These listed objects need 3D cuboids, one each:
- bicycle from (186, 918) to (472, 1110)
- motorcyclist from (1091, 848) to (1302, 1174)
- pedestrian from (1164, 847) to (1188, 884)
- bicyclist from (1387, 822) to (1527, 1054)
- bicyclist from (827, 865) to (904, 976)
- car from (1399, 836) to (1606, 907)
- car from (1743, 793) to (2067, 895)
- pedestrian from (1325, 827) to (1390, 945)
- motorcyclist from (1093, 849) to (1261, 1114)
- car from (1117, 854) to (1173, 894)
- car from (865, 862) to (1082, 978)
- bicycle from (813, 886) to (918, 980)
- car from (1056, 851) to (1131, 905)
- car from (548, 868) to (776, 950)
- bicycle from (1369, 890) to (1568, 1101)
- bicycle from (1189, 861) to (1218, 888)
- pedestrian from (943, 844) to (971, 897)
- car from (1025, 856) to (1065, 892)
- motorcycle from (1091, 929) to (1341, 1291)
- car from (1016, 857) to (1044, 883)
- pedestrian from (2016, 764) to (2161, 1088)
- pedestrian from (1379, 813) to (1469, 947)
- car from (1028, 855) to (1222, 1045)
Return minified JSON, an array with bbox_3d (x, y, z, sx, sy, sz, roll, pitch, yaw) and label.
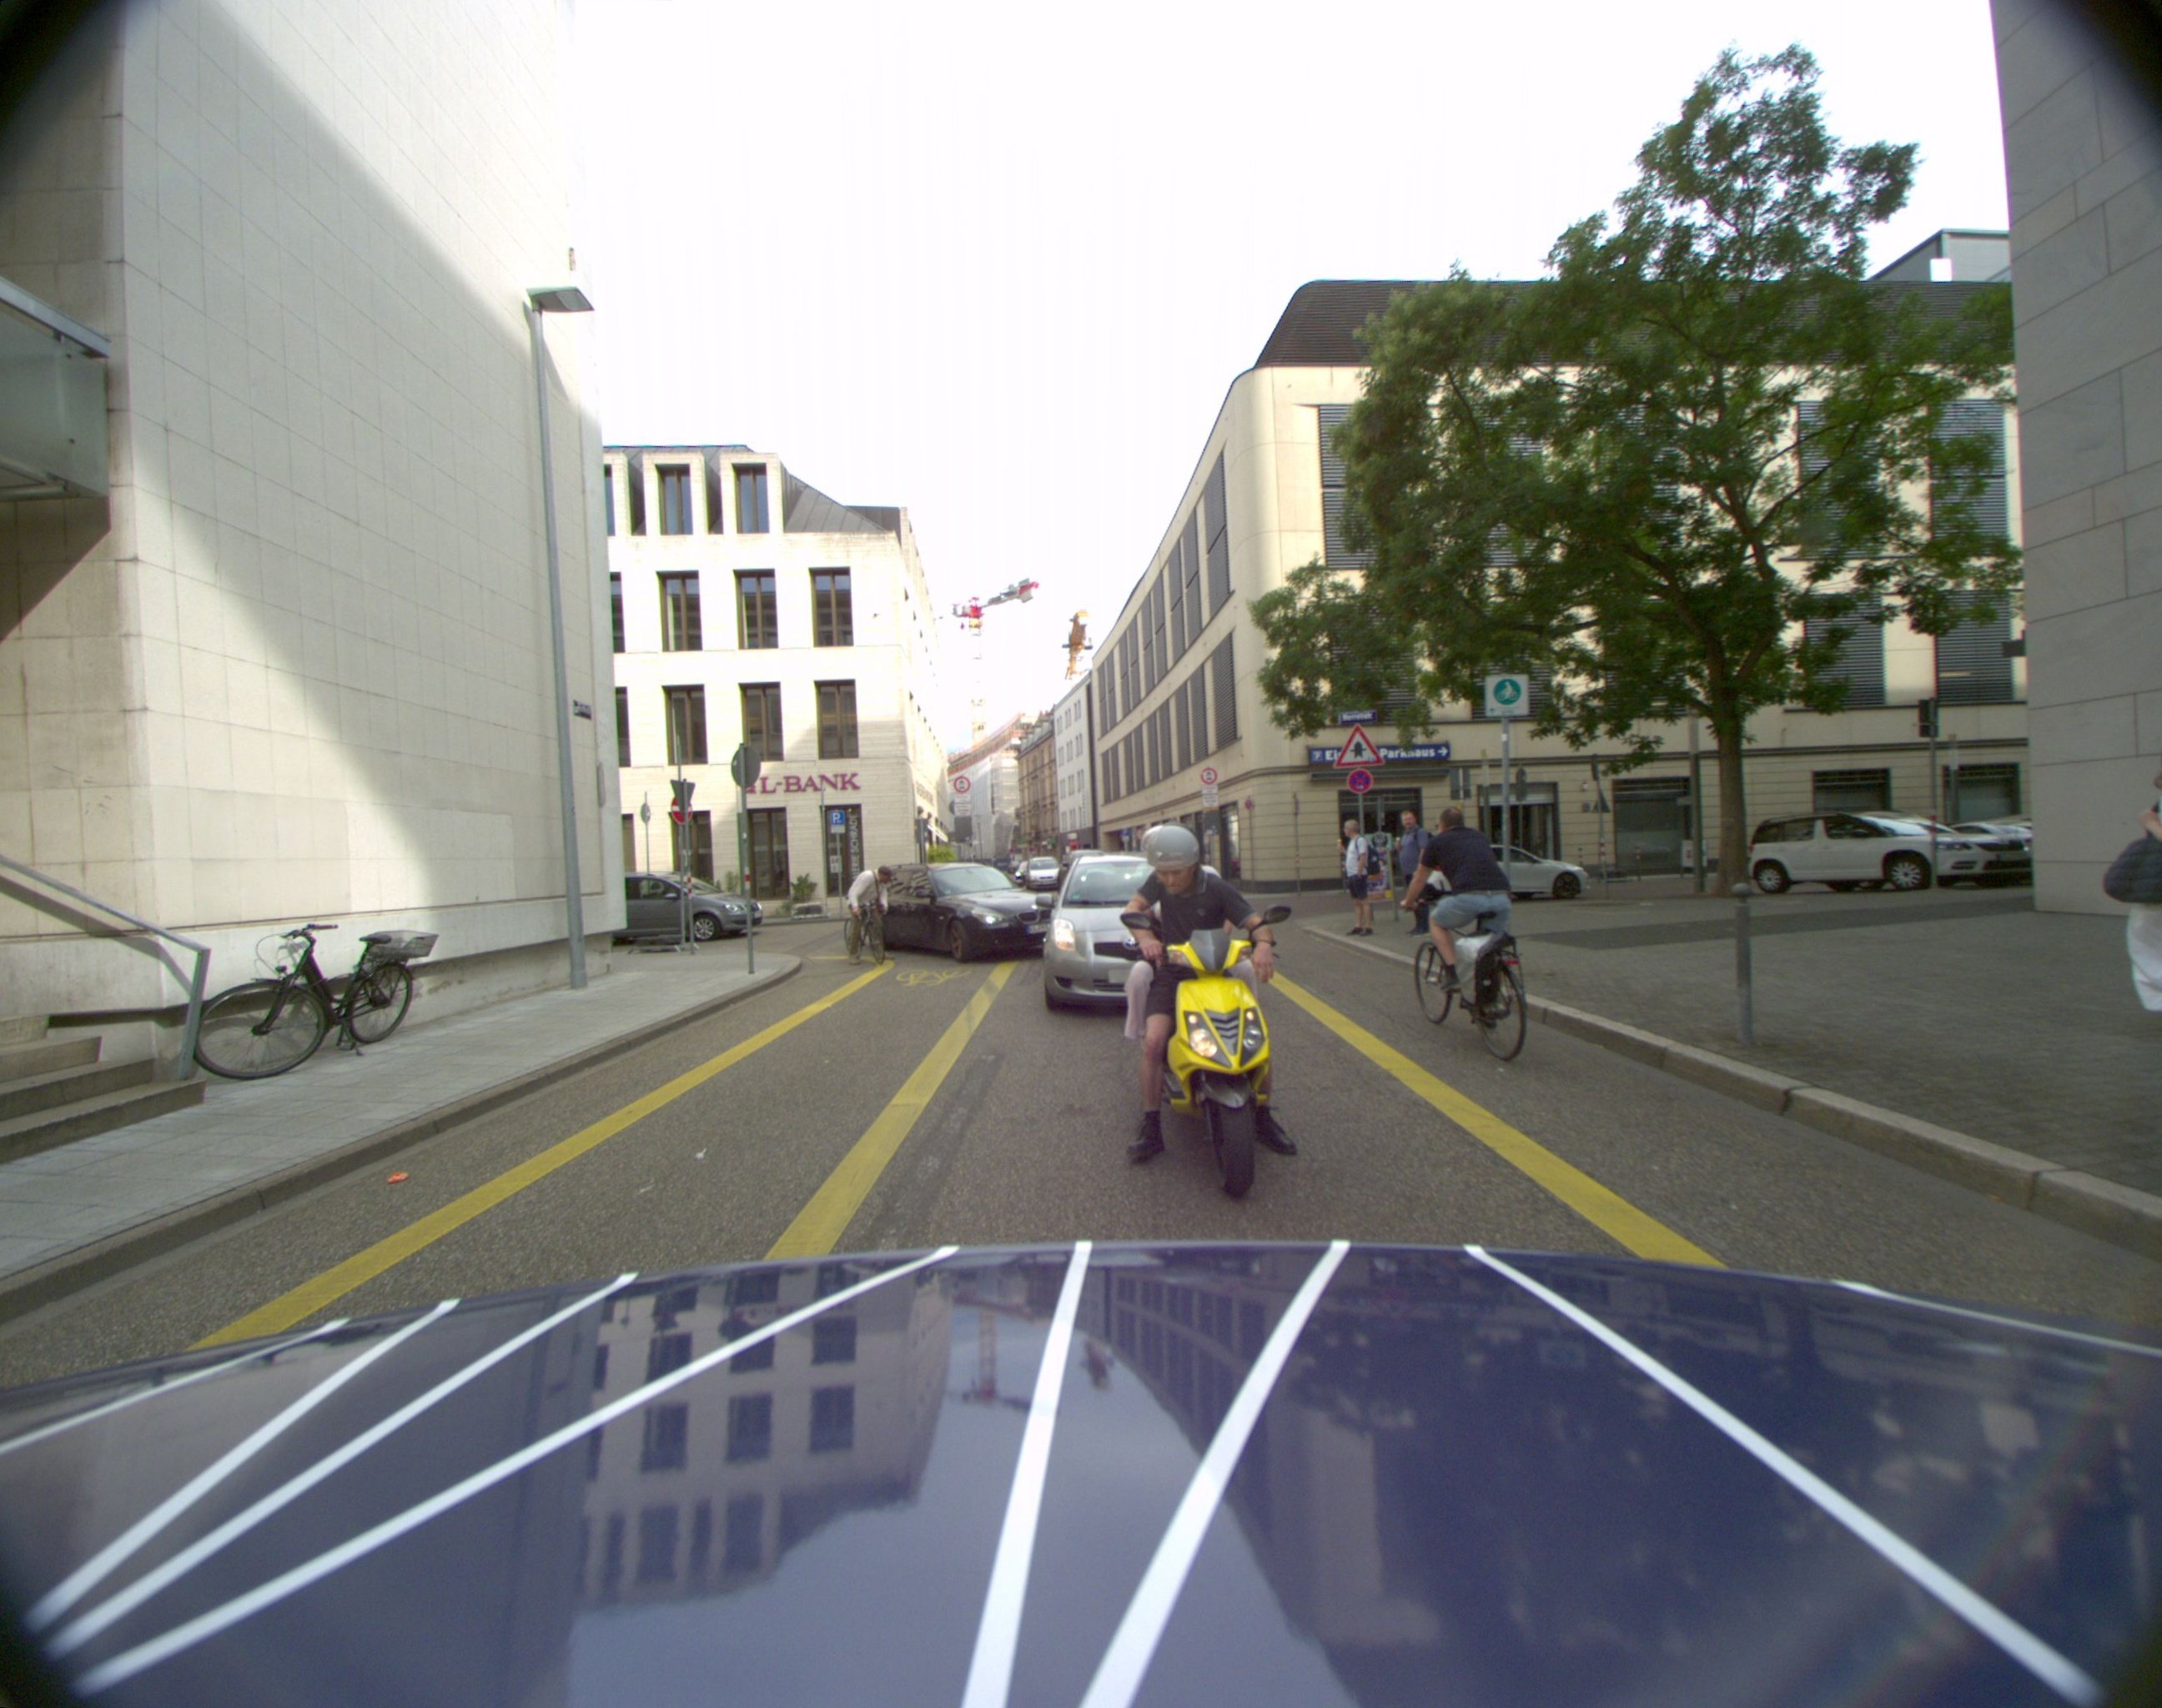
[{"bbox_3d":[-6.034,1.209,6.276,0.590,1.160,1.814,-2,1,-4],"label":"bicycle"},{"bbox_3d":[0.523,0.702,3.914,0.924,1.445,1.065,-1,0,1],"label":"motorcyclist"},{"bbox_3d":[4.766,0.548,38.022,0.892,1.755,1.060,-6,1,0],"label":"pedestrian"},{"bbox_3d":[2.848,0.589,5.850,0.644,1.644,0.940,0,1,4],"label":"bicyclist"},{"bbox_3d":[-3.339,0.989,11.752,0.894,1.585,0.875,-3,1,-30],"label":"bicyclist"},{"bbox_3d":[10.760,0.417,19.567,4.365,1.572,1.814,-2,1,-5],"label":"car"},{"bbox_3d":[15.911,-0.078,15.053,1.899,1.682,3.964,-2,-3,-3],"label":"car"},{"bbox_3d":[4.294,0.479,11.818,0.644,1.755,0.653,-3,1,-11],"label":"pedestrian"},{"bbox_3d":[0.532,0.699,4.526,0.903,1.445,0.742,-1,0,1],"label":"motorcyclist"},{"bbox_3d":[2.717,0.812,33.123,1.563,1.547,4.100,-3,1,-7],"label":"car"},{"bbox_3d":[-1.857,0.932,12.192,1.720,1.482,3.755,-3,1,-38],"label":"car"},{"bbox_3d":[-3.470,1.159,12.007,0.872,1.188,2.857,-3,1,-30],"label":"bicycle"},{"bbox_3d":[0.320,0.695,24.364,1.710,1.482,4.100,-3,1,-8],"label":"car"},{"bbox_3d":[-9.551,1.231,17.586,4.193,1.581,1.814,-2,1,-2],"label":"car"},{"bbox_3d":[2.855,0.958,5.862,0.648,1.233,1.953,0,1,4],"label":"bicycle"},{"bbox_3d":[5.354,0.883,33.279,0.692,1.038,2.543,-2,1,-4],"label":"bicycle"},{"bbox_3d":[-4.431,0.580,27.102,0.774,1.820,0.860,-3,1,-20],"label":"pedestrian"},{"bbox_3d":[-1.782,0.929,36.703,1.563,1.547,4.100,-3,1,-7],"label":"car"},{"bbox_3d":[0.529,1.076,3.934,0.929,1.158,2.127,-1,0,1],"label":"motorcycle"},{"bbox_3d":[-3.288,0.998,48.419,1.589,1.477,3.997,-2,1,-6],"label":"car"},{"bbox_3d":[6.114,0.358,4.109,0.879,1.699,0.910,-6,1,0],"label":"pedestrian"},{"bbox_3d":[4.934,0.359,10.968,0.745,1.804,0.756,-6,1,-11],"label":"pedestrian"},{"bbox_3d":[0.429,0.813,8.271,1.562,1.482,3.784,-3,1,2],"label":"car"}]
